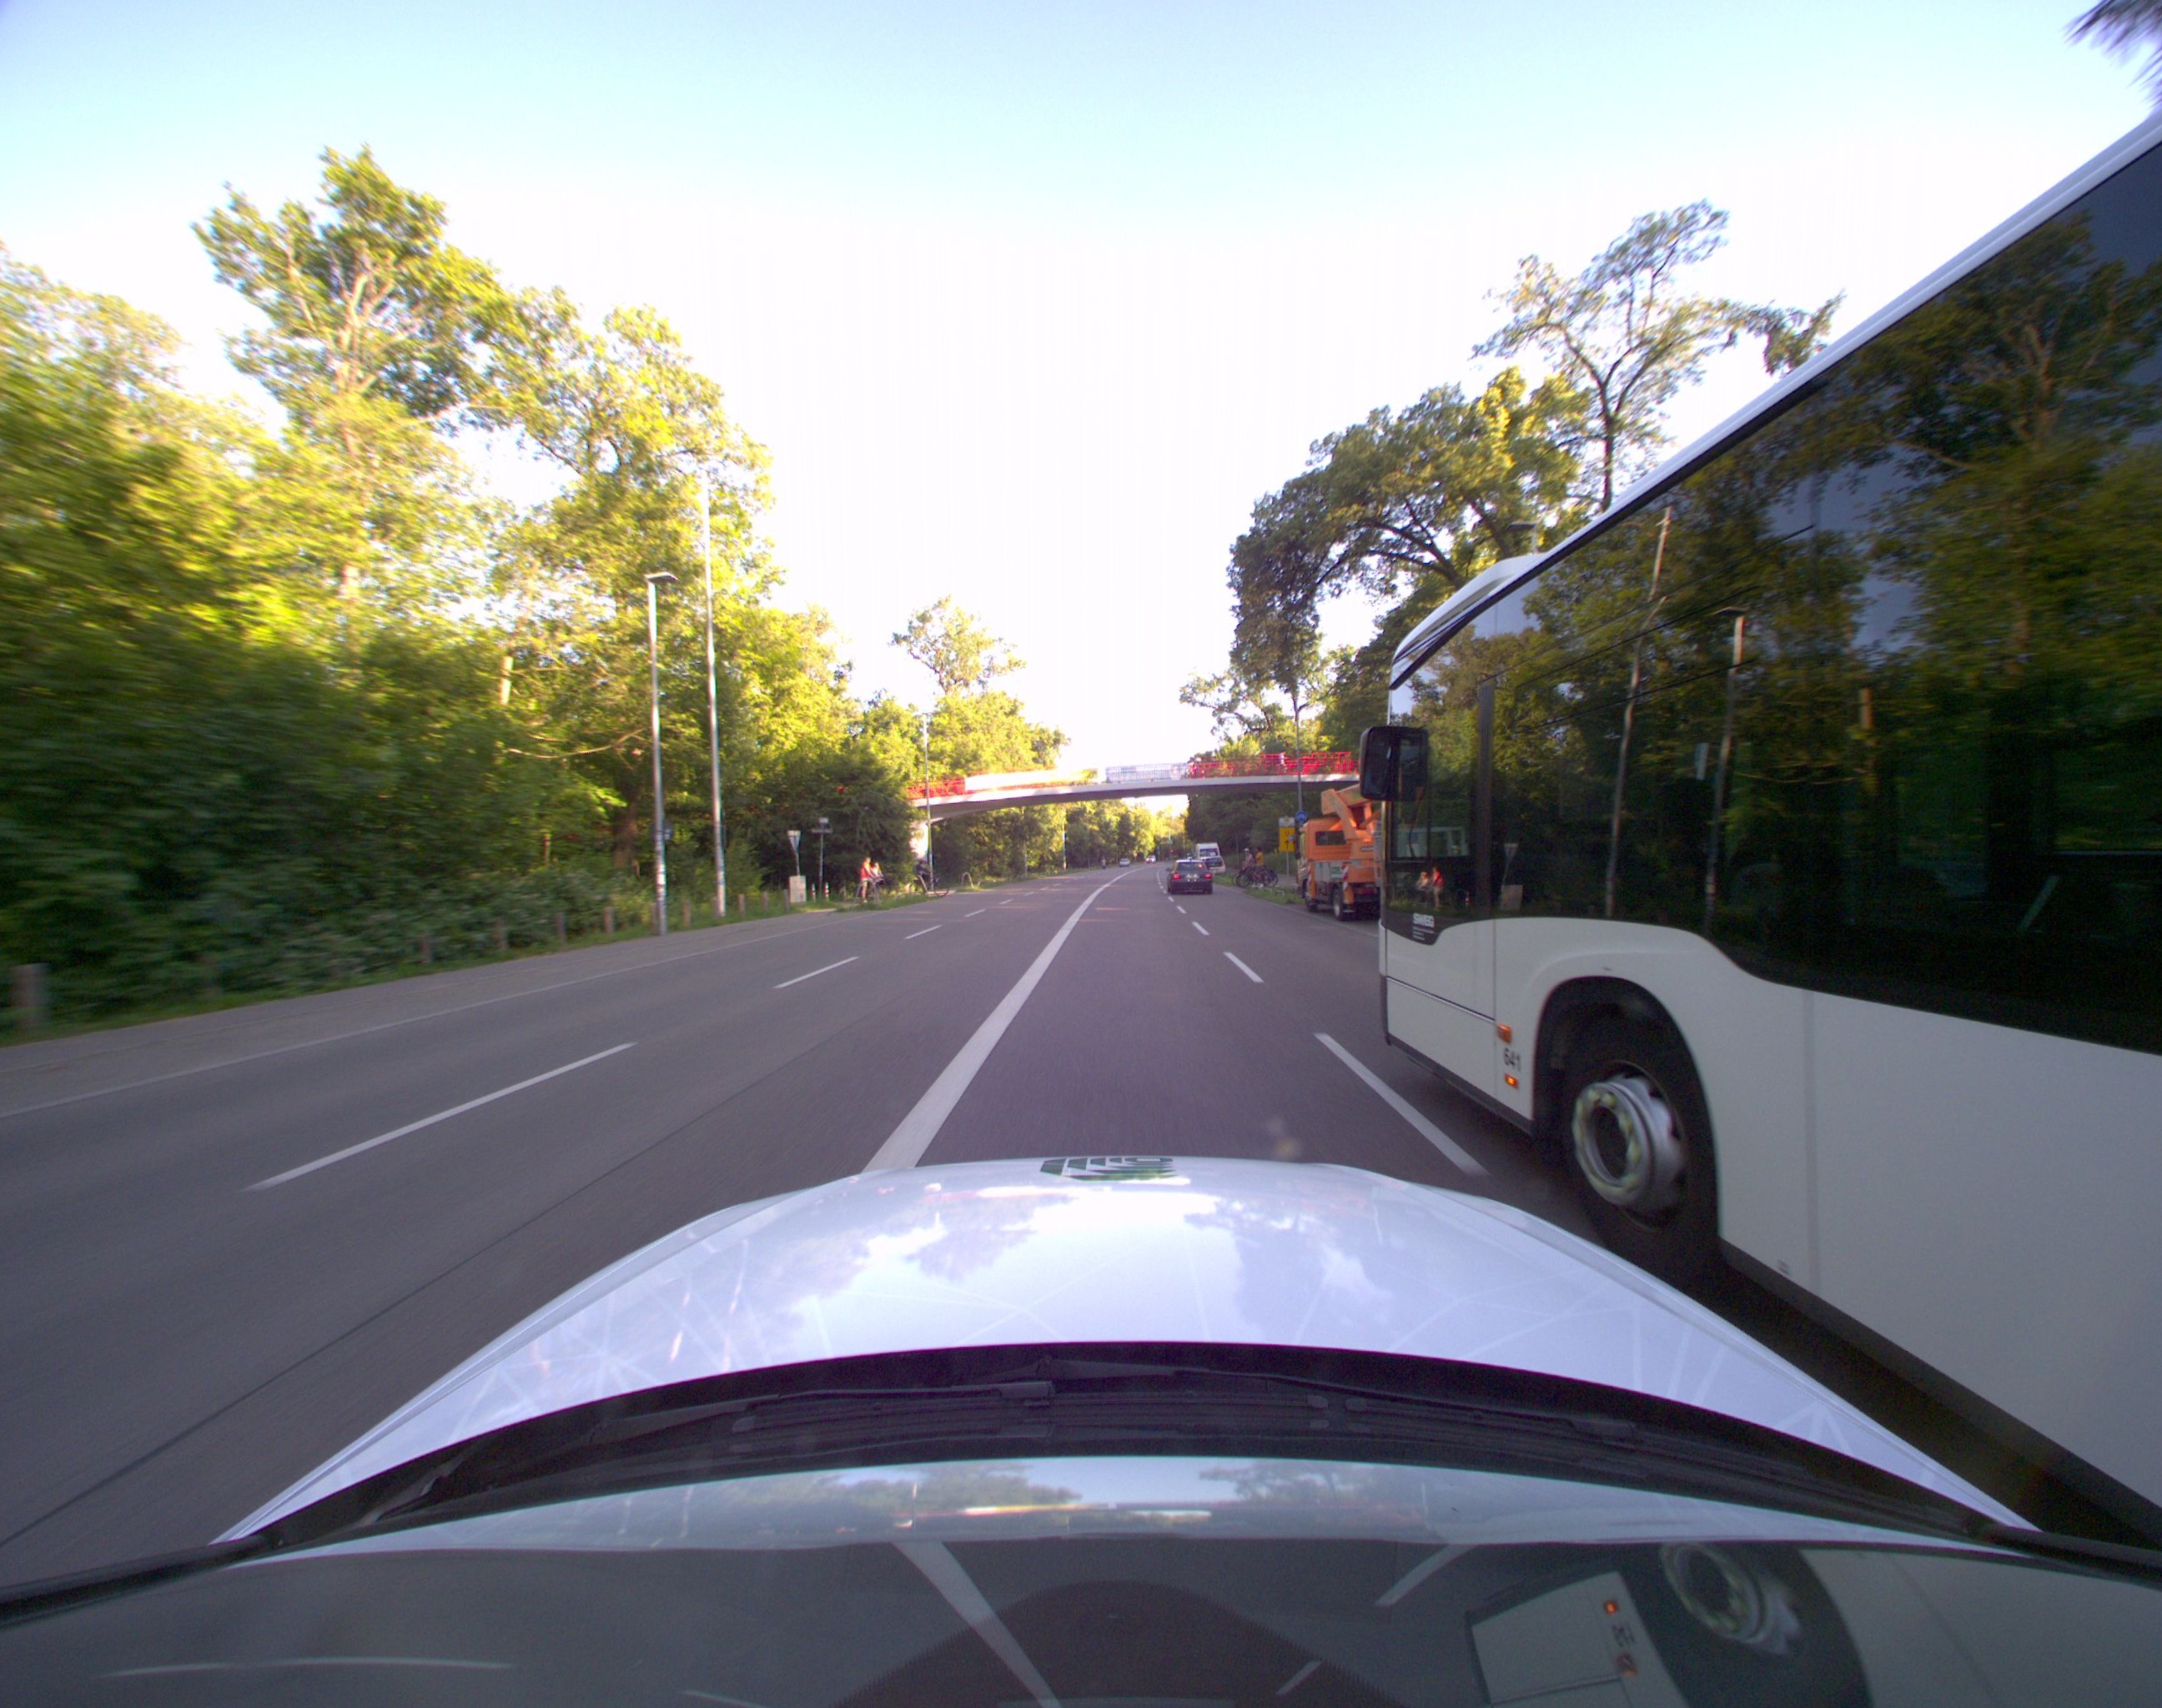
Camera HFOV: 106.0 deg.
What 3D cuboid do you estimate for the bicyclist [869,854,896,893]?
[{"bbox_3d":[-8.828,0.869,36.272,0.790,1.697,0.949,-2,0,13],"label":"bicyclist"}]

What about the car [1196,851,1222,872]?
[{"bbox_3d":[9.937,0.575,63.419,1.714,1.496,4.152,-4,0,6],"label":"car"}]

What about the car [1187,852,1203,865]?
[{"bbox_3d":[13.227,0.492,94.831,1.718,1.441,4.109,-2,0,7],"label":"car"}]

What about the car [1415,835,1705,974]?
[{"bbox_3d":[6.447,0.598,11.586,1.722,1.574,4.090,-2,0,1],"label":"car"}]

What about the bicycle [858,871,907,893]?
[{"bbox_3d":[-8.829,1.248,36.282,1.913,0.934,0.827,-2,0,13],"label":"bicycle"}]

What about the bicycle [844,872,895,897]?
[{"bbox_3d":[-9.090,1.303,35.007,1.913,0.934,0.827,-3,0,13],"label":"bicycle"}]

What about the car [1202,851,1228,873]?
[{"bbox_3d":[9.605,0.528,58.513,1.713,1.496,3.783,-2,0,7],"label":"car"}]

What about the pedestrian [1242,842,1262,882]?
[{"bbox_3d":[8.014,0.372,38.234,0.697,1.852,0.938,-2,0,0],"label":"pedestrian"}]

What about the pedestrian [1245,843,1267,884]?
[{"bbox_3d":[7.997,0.426,37.251,0.697,1.852,0.938,-2,0,0],"label":"pedestrian"}]

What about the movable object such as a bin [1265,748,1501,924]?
[{"bbox_3d":[6.812,-0.367,19.838,2.750,3.370,7.597,-2,0,-1],"label":"movable object such as a bin"}]

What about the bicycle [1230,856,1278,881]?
[{"bbox_3d":[8.113,0.672,38.195,2.055,1.068,0.870,-2,0,-1],"label":"bicycle"}]

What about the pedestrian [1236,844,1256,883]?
[{"bbox_3d":[7.978,0.450,39.349,0.697,1.852,0.938,-2,0,0],"label":"pedestrian"}]

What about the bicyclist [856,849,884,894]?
[{"bbox_3d":[-9.071,0.734,35.011,0.790,1.901,0.820,-2,0,13],"label":"bicyclist"}]

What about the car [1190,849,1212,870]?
[{"bbox_3d":[11.296,0.464,76.993,1.820,1.868,5.082,-2,0,6],"label":"car"}]

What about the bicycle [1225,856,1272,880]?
[{"bbox_3d":[8.092,0.648,39.341,2.055,1.068,0.870,-2,0,-1],"label":"bicycle"}]

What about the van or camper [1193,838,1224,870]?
[{"bbox_3d":[10.829,0.009,69.678,2.109,2.517,5.988,-2,0,5],"label":"van or camper"}]

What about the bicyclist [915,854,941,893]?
[{"bbox_3d":[-6.659,0.855,35.531,0.790,1.643,0.844,-2,0,13],"label":"bicyclist"}]

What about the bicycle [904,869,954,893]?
[{"bbox_3d":[-6.622,1.174,35.523,1.913,0.934,0.827,-2,0,13],"label":"bicycle"}]

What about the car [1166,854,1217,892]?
[{"bbox_3d":[4.545,0.750,34.082,1.721,1.441,4.092,-2,0,2],"label":"car"}]

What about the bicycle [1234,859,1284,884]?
[{"bbox_3d":[8.117,0.797,37.236,2.055,1.068,0.870,-2,0,-1],"label":"bicycle"}]

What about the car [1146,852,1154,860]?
[{"bbox_3d":[18.562,0.577,218.148,1.983,1.992,5.006,0,-1,7],"label":"car"}]

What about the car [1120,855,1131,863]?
[{"bbox_3d":[7.768,0.858,140.658,1.673,1.407,3.895,-3,0,5],"label":"car"}]

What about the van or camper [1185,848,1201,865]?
[{"bbox_3d":[14.626,0.313,105.963,1.882,1.948,5.145,-4,-1,8],"label":"van or camper"}]
